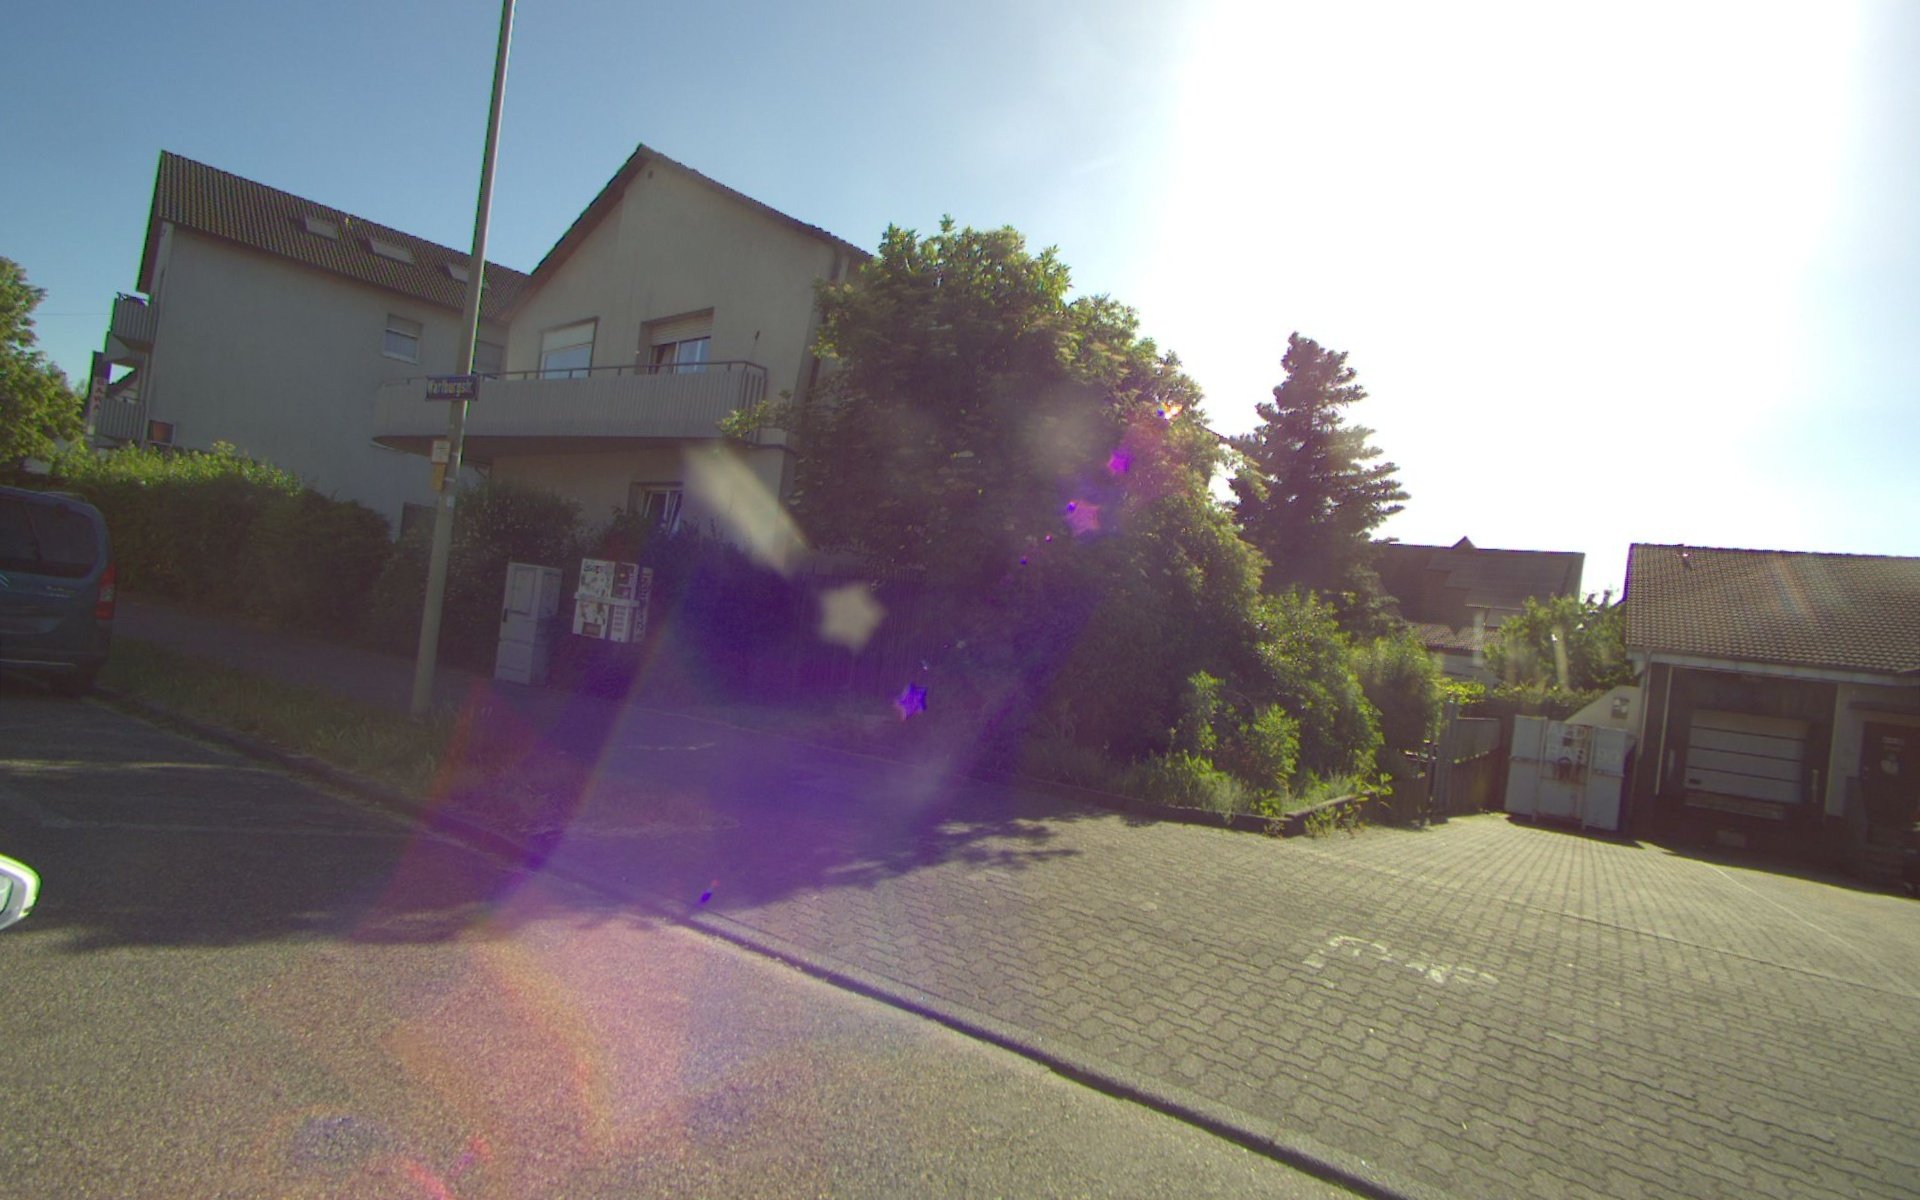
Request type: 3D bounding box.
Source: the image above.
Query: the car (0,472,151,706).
[{"bbox_3d":[-9.779,-0.300,9.462,4.486,1.867,1.862,6,-4,33],"label":"car"}]

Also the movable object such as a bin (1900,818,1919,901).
[{"bbox_3d":[17.347,4.663,17.863,0.744,1.372,0.660,6,-1,32],"label":"movable object such as a bin"}]
